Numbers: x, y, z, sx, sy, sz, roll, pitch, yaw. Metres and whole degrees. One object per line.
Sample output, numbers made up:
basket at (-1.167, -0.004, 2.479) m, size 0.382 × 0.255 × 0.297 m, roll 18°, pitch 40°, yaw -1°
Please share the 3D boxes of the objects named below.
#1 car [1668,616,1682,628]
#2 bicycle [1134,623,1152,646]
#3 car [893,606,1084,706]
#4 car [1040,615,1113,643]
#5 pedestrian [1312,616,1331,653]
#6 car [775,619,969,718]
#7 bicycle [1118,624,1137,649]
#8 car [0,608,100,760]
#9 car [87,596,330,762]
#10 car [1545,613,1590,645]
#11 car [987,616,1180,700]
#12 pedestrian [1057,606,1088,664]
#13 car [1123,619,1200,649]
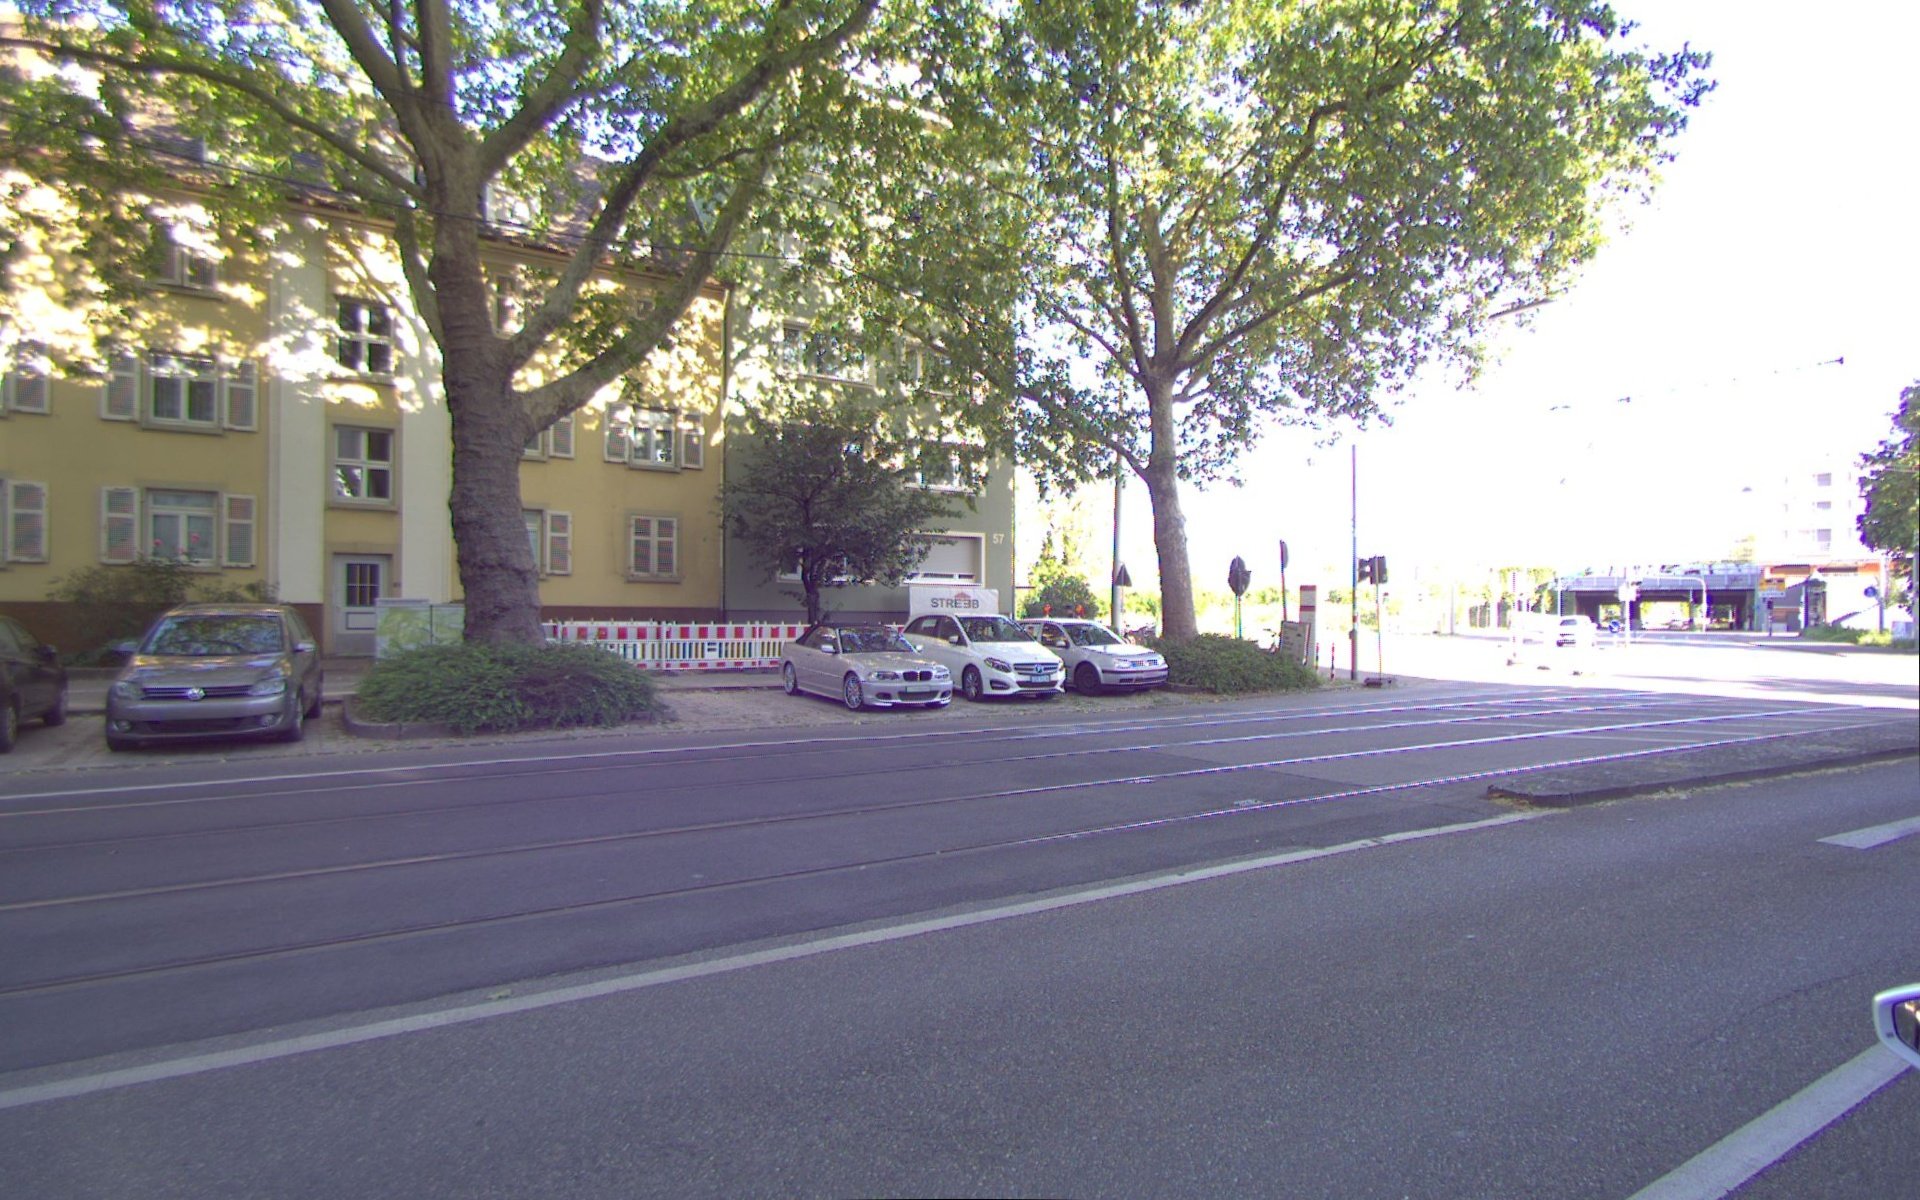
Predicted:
car at (131.798, 4.098, 185.219) m, size 1.966 × 2.040 × 3.989 m, roll 2°, pitch 0°, yaw 34°
bicycle at (6.282, 1.180, 34.496) m, size 0.351 × 0.769 × 1.781 m, roll 0°, pitch -1°, yaw 1°
car at (0.420, 0.986, 19.190) m, size 1.822 × 1.633 × 4.052 m, roll 2°, pitch 0°, yaw -29°
car at (7.063, 1.752, 61.057) m, size 3.933 × 1.439 × 1.887 m, roll 0°, pitch 5°, yaw 35°
pedestrian at (15.820, 1.506, 43.947) m, size 0.591 × 1.617 × 0.682 m, roll 2°, pitch 0°, yaw 35°
car at (-1.644, 1.089, 17.299) m, size 1.822 × 1.387 × 4.052 m, roll 2°, pitch 0°, yaw -29°
bicycle at (5.403, 1.155, 32.375) m, size 0.351 × 0.769 × 1.781 m, roll 0°, pitch -1°, yaw 18°
car at (-11.399, 0.865, 11.434) m, size 1.673 × 1.466 × 3.834 m, roll 2°, pitch 0°, yaw -29°
car at (-8.962, 0.815, 12.345) m, size 1.822 × 1.641 × 4.052 m, roll 2°, pitch 0°, yaw -29°
car at (33.519, 1.579, 55.516) m, size 1.964 × 1.653 × 4.623 m, roll 0°, pitch -1°, yaw 29°
car at (2.421, 1.118, 20.572) m, size 1.688 × 1.436 × 3.960 m, roll 2°, pitch 0°, yaw -36°
pedestrian at (3.126, 0.966, 27.973) m, size 0.592 × 1.589 × 0.741 m, roll 0°, pitch 0°, yaw 33°
car at (11.565, 1.928, 57.699) m, size 3.933 × 1.439 × 1.887 m, roll 0°, pitch 5°, yaw 35°
